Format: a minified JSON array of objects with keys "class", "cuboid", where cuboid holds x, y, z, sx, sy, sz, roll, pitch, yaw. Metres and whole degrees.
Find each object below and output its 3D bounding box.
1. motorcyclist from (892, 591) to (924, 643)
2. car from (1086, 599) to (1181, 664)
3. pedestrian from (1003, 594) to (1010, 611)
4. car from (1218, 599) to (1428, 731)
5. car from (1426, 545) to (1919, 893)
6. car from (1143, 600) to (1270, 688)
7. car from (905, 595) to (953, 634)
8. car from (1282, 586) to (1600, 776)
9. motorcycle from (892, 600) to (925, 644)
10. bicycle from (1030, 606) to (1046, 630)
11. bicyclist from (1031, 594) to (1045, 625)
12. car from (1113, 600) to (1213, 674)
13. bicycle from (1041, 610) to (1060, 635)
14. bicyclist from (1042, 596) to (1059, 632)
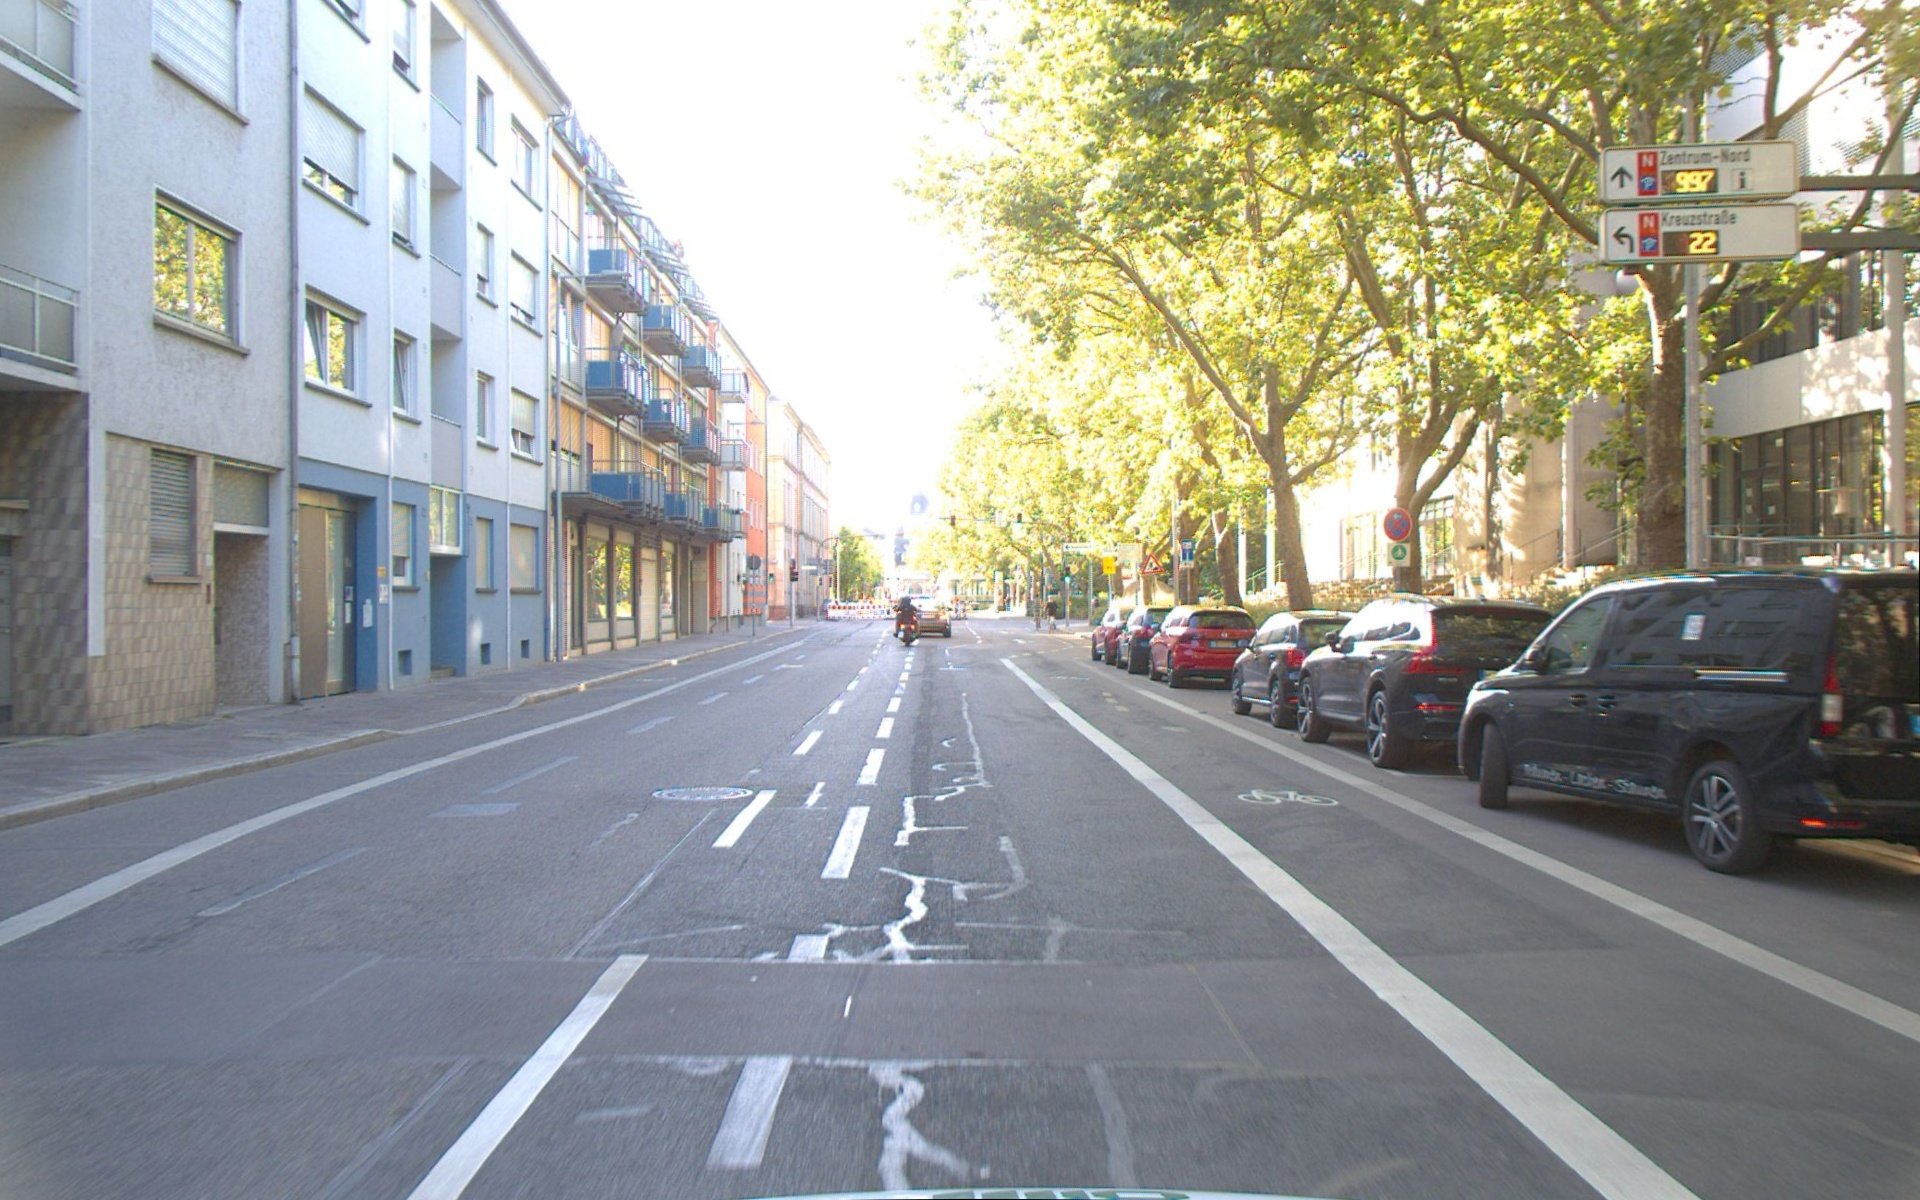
[{"class":"motorcyclist","cuboid":[-1.647,0.522,52.790,0.992,1.630,1.405,0,0,-2]},{"class":"car","cuboid":[4.303,0.751,41.583,1.659,1.475,4.433,2,0,-3]},{"class":"pedestrian","cuboid":[4.379,0.263,155.181,0.580,1.606,0.527,1,-1,-1]},{"class":"car","cuboid":[4.688,0.784,21.923,1.659,1.530,4.017,2,0,-3]},{"class":"car","cuboid":[5.165,0.647,11.480,1.791,1.873,4.889,2,0,-9]},{"class":"car","cuboid":[4.615,0.778,31.468,1.658,1.505,4.317,2,0,-1]},{"class":"car","cuboid":[-1.209,0.535,64.021,1.791,1.445,3.813,0,0,-2]},{"class":"car","cuboid":[4.773,0.719,17.164,1.740,1.656,4.618,2,0,-3]},{"class":"motorcycle","cuboid":[-1.639,0.674,52.624,0.992,1.329,2.672,0,0,-2]},{"class":"bicycle","cuboid":[3.854,0.880,81.866,0.643,1.131,2.185,1,0,-2]},{"class":"bicyclist","cuboid":[3.861,0.470,81.923,0.643,1.557,0.906,1,-1,-2]},{"class":"car","cuboid":[4.457,0.778,36.830,1.658,1.492,4.065,2,0,0]},{"class":"bicycle","cuboid":[3.983,0.993,73.136,0.643,1.089,1.926,1,0,-2]},{"class":"bicyclist","cuboid":[3.990,0.608,73.168,0.643,1.557,0.851,1,-1,-2]}]
